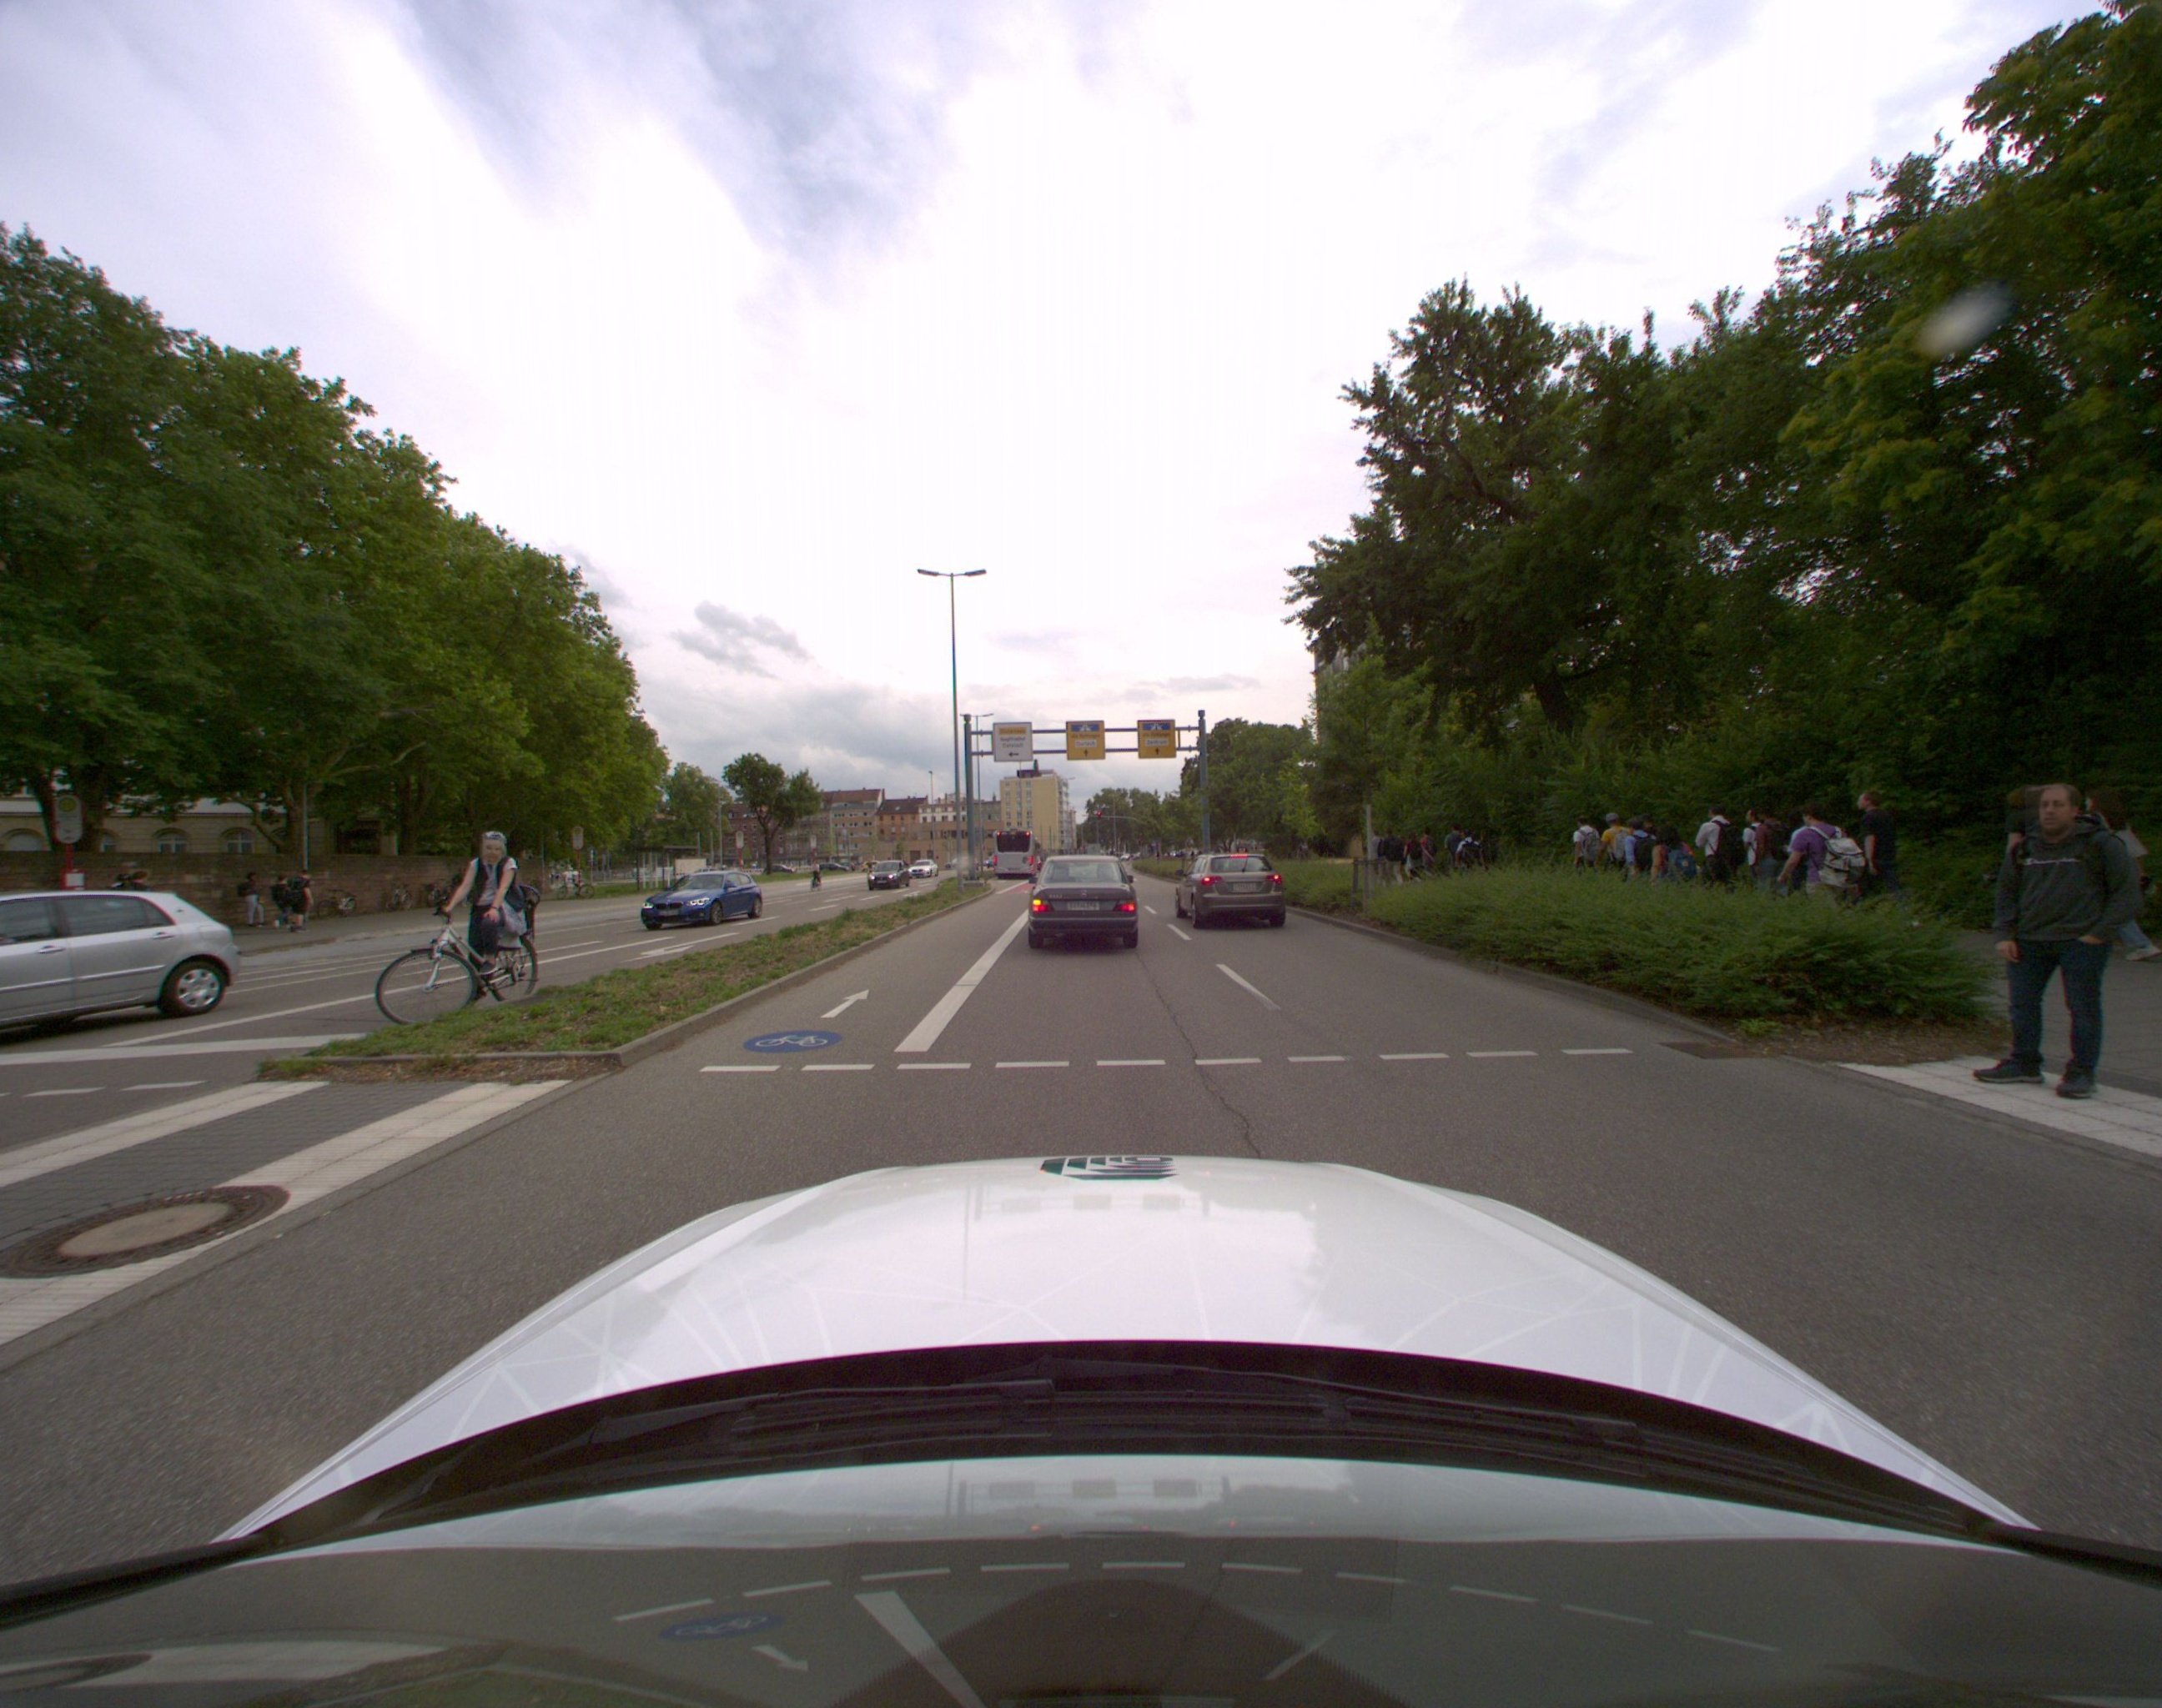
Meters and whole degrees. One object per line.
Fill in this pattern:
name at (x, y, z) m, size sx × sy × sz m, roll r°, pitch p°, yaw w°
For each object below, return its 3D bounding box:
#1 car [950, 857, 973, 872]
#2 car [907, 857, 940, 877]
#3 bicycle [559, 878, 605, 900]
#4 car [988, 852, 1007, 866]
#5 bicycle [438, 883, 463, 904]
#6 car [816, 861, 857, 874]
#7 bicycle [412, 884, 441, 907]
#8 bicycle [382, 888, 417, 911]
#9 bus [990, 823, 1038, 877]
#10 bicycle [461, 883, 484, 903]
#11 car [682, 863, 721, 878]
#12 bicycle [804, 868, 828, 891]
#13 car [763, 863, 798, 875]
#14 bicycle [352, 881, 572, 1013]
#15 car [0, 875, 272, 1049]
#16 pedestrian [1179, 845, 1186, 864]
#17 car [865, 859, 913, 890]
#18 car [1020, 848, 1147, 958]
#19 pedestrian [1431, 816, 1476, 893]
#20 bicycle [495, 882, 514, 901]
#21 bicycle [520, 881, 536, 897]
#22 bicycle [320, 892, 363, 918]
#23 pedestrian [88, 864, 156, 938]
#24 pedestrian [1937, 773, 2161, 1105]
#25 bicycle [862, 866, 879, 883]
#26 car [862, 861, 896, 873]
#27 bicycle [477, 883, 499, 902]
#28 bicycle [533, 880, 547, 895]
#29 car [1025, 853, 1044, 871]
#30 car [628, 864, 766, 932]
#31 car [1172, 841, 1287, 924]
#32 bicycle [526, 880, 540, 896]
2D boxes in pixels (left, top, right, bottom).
car at (-12.799, 1.108, 87.199) m, size 1.796 × 1.489 × 4.288 m, roll -2°, pitch 0°, yaw 0°
car at (-12.914, 1.060, 67.180) m, size 1.796 × 1.489 × 4.415 m, roll -2°, pitch 0°, yaw 0°
bicycle at (-23.897, 1.657, 39.055) m, size 0.467 × 0.918 × 2.344 m, roll -2°, pitch 0°, yaw 7°
car at (-10.413, 0.598, 101.564) m, size 1.796 × 1.665 × 4.298 m, roll -4°, pitch 0°, yaw -1°
bicycle at (-28.104, 1.766, 36.315) m, size 0.347 × 0.878 × 1.513 m, roll 1°, pitch -1°, yaw -18°
car at (-30.218, 1.665, 100.812) m, size 4.663 × 1.475 × 1.657 m, roll 0°, pitch 0°, yaw -6°
bicycle at (-27.516, 1.733, 34.251) m, size 0.417 × 0.878 × 1.546 m, roll 1°, pitch -1°, yaw -18°
bicycle at (-26.778, 1.777, 32.022) m, size 0.442 × 0.827 × 1.611 m, roll 1°, pitch -1°, yaw -18°
bus at (-4.491, -0.261, 56.304) m, size 2.824 × 3.390 × 8.175 m, roll -2°, pitch 0°, yaw -2°
bicycle at (-28.914, 1.859, 38.736) m, size 0.442 × 0.878 × 1.609 m, roll 1°, pitch -1°, yaw -21°
car at (-48.593, 2.078, 104.350) m, size 4.150 × 1.649 × 1.643 m, roll -2°, pitch 0°, yaw -7°
bicycle at (-15.652, 1.498, 48.158) m, size 0.615 × 1.217 × 2.047 m, roll -2°, pitch 0°, yaw 4°
car at (-36.894, 1.786, 99.962) m, size 3.759 × 1.394 × 1.581 m, roll -1°, pitch 0°, yaw -7°
bicycle at (-5.978, 0.839, 8.030) m, size 0.571 × 1.055 × 1.928 m, roll -2°, pitch 0°, yaw 3°
car at (-10.649, 1.038, 7.654) m, size 1.796 × 1.489 × 4.286 m, roll -2°, pitch 0°, yaw -1°
pedestrian at (10.915, 0.081, 87.841) m, size 0.612 × 2.013 × 0.597 m, roll -2°, pitch 0°, yaw -2°
car at (-10.280, 1.060, 43.802) m, size 1.566 × 1.489 × 3.637 m, roll -2°, pitch 0°, yaw 1°
car at (0.007, 0.690, 13.631) m, size 1.756 × 1.489 × 4.169 m, roll -2°, pitch 0°, yaw -1°
pedestrian at (9.038, 0.015, 19.785) m, size 0.654 × 1.821 × 0.812 m, roll -2°, pitch 0°, yaw 0°
bicycle at (-30.733, 1.992, 43.442) m, size 0.483 × 0.907 × 1.608 m, roll -2°, pitch 0°, yaw -23°
bicycle at (-32.748, 2.060, 48.223) m, size 0.483 × 0.907 × 1.607 m, roll 1°, pitch -1°, yaw -25°
bicycle at (-25.672, 1.768, 28.296) m, size 0.442 × 0.827 × 1.611 m, roll 1°, pitch -1°, yaw -18°
pedestrian at (-22.531, 1.087, 19.154) m, size 0.763 × 1.671 × 0.915 m, roll -1°, pitch -2°, yaw -29°
pedestrian at (5.535, 0.443, 4.626) m, size 0.600 × 1.735 × 0.654 m, roll -2°, pitch 0°, yaw -3°
bicycle at (-15.728, 1.524, 60.954) m, size 0.579 × 1.170 × 1.967 m, roll -2°, pitch 0°, yaw 6°
car at (-25.179, 1.605, 101.526) m, size 3.851 × 1.517 × 1.657 m, roll -1°, pitch 0°, yaw -6°
bicycle at (-29.673, 1.915, 40.767) m, size 0.442 × 0.878 × 1.609 m, roll 1°, pitch -1°, yaw -21°
bicycle at (-34.513, 2.104, 52.000) m, size 0.483 × 0.907 × 1.607 m, roll 1°, pitch -1°, yaw -25°
car at (-4.324, 0.719, 75.486) m, size 1.651 × 1.396 × 3.856 m, roll -2°, pitch 2°, yaw -3°
car at (-10.180, 1.098, 21.976) m, size 1.796 × 1.511 × 4.102 m, roll -2°, pitch 1°, yaw -1°
car at (2.929, 0.514, 16.791) m, size 1.718 × 1.457 × 3.736 m, roll -2°, pitch 0°, yaw 1°
bicycle at (-33.749, 2.084, 50.160) m, size 0.483 × 0.907 × 1.607 m, roll 1°, pitch -1°, yaw -25°
